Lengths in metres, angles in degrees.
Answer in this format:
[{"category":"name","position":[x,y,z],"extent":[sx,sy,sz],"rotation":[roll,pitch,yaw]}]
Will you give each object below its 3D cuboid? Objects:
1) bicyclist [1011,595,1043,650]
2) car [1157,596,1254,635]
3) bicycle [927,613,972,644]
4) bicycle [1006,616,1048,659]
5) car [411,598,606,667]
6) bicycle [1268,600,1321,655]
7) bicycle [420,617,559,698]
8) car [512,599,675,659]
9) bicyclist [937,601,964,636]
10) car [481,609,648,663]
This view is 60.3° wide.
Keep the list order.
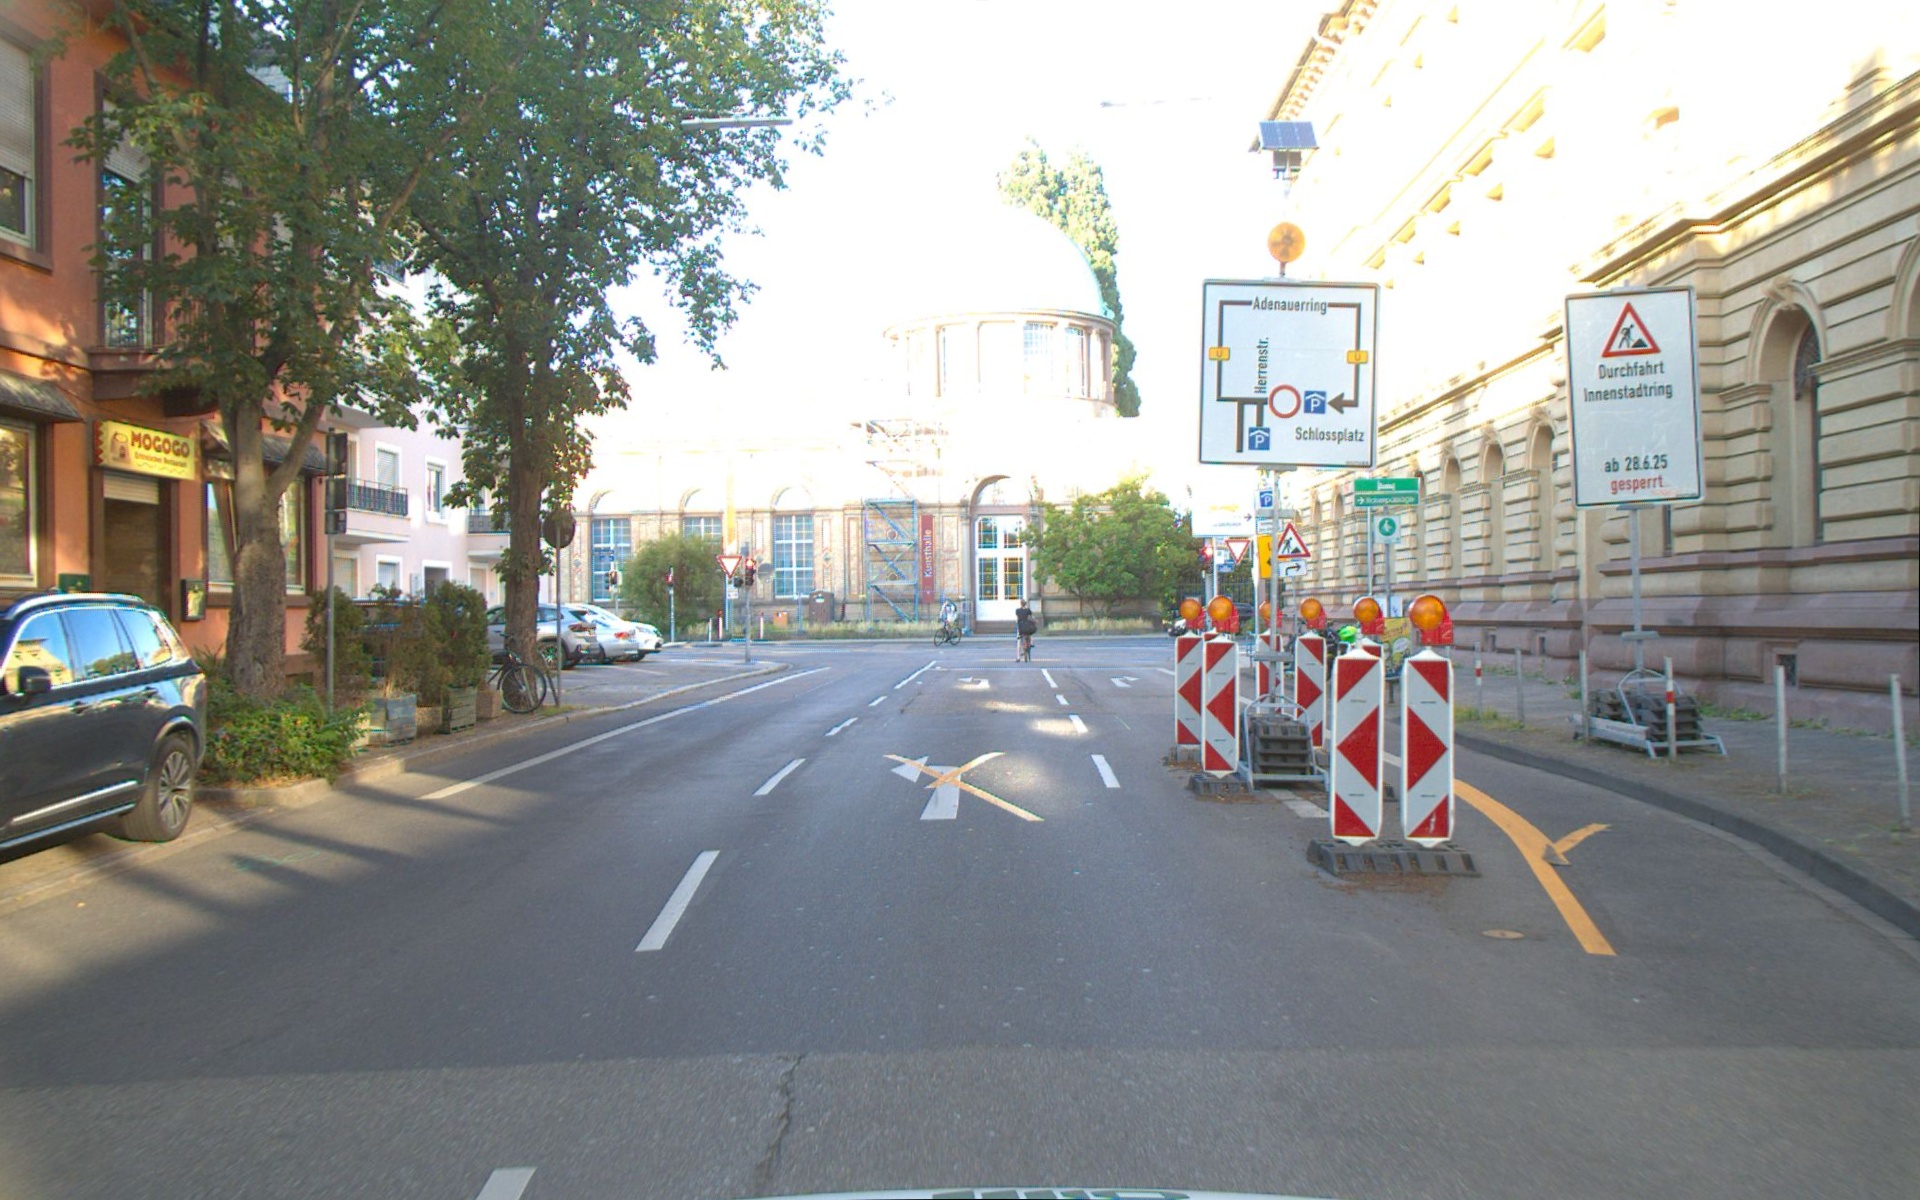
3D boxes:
[{"category":"bicyclist","position":[1.899,0.647,46.814],"extent":[0.701,1.529,0.851],"rotation":[-1,-2,16]},{"category":"car","position":[10.376,0.645,69.961],"extent":[3.765,1.497,1.662],"rotation":[-2,1,-4]},{"category":"bicycle","position":[-0.403,1.124,65.572],"extent":[0.615,1.176,2.042],"rotation":[-3,-2,40]},{"category":"bicycle","position":[1.904,1.065,46.819],"extent":[0.696,1.176,2.070],"rotation":[-1,-2,16]},{"category":"car","position":[-11.289,0.788,41.542],"extent":[4.327,1.633,1.916],"rotation":[1,0,0]},{"category":"bicycle","position":[7.587,0.603,37.561],"extent":[0.810,1.154,1.945],"rotation":[-4,0,2]},{"category":"bicycle","position":[-6.779,0.824,23.890],"extent":[1.830,1.123,0.610],"rotation":[-1,0,-5]},{"category":"car","position":[-10.736,0.835,48.679],"extent":[4.349,1.669,1.942],"rotation":[1,0,0]},{"category":"bicyclist","position":[-0.361,0.735,65.635],"extent":[0.615,1.388,0.924],"rotation":[-3,-2,40]},{"category":"car","position":[-10.944,0.977,45.950],"extent":[4.179,1.404,1.736],"rotation":[1,0,0]}]
